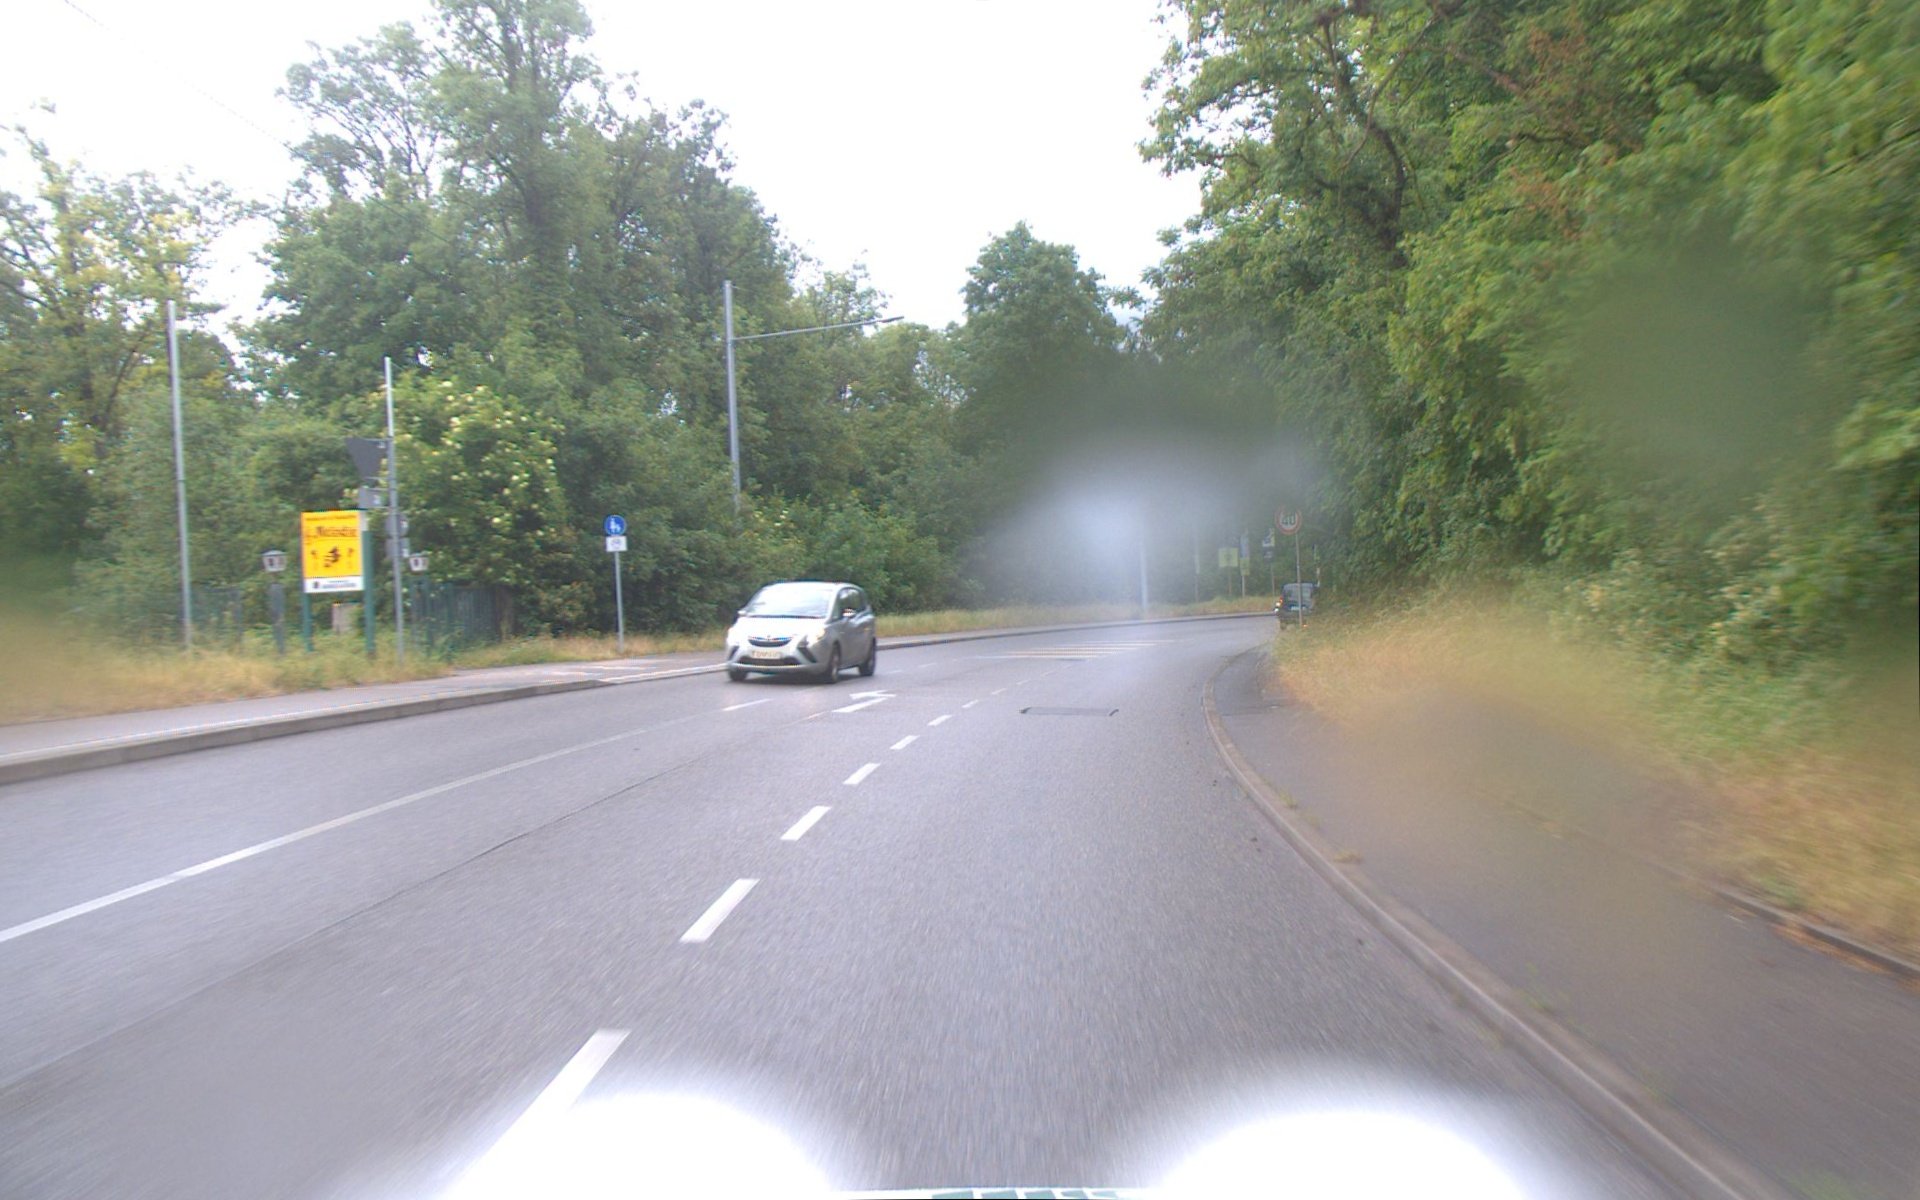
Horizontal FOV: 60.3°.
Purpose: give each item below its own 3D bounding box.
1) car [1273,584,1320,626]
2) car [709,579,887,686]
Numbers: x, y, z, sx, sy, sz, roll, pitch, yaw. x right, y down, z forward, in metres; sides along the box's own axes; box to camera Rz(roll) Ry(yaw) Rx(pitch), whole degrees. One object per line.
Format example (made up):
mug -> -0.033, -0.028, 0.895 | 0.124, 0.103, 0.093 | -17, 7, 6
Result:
car -> 13.415, 0.184, 66.068 | 1.632, 1.621, 3.686 | 1, 0, 9
car -> -2.656, 0.504, 28.215 | 1.721, 1.643, 4.422 | 1, 0, 12
